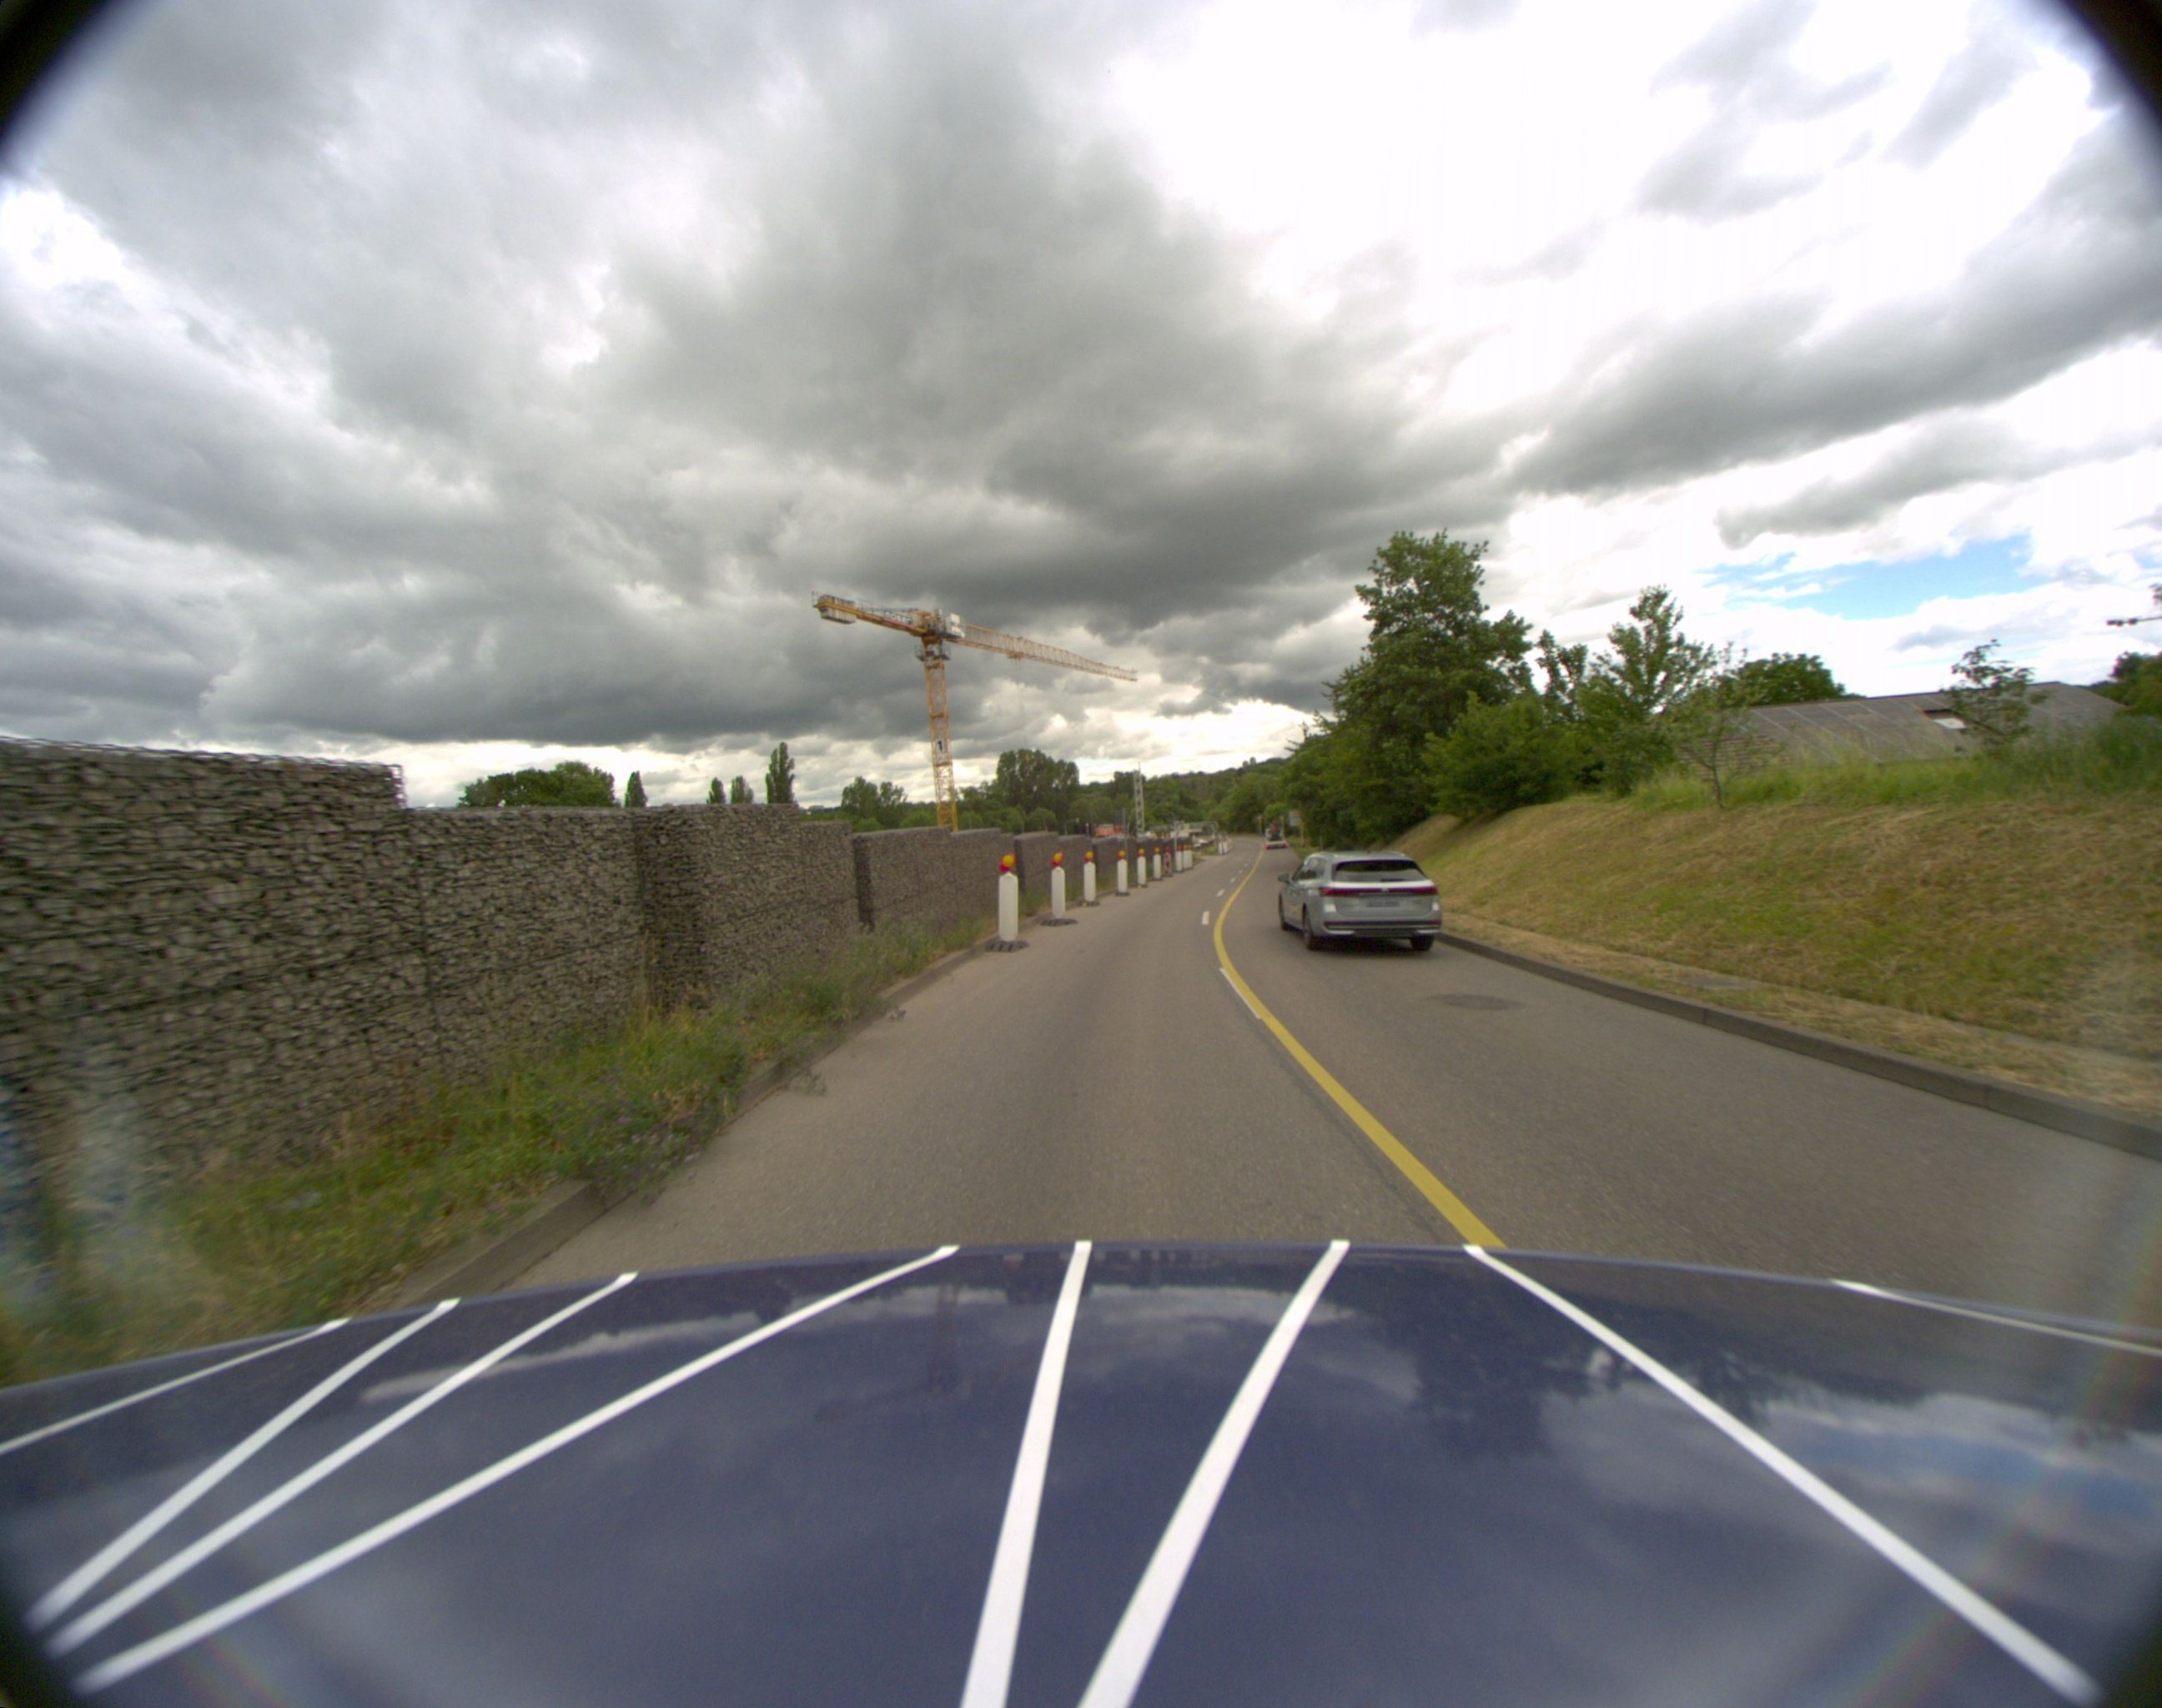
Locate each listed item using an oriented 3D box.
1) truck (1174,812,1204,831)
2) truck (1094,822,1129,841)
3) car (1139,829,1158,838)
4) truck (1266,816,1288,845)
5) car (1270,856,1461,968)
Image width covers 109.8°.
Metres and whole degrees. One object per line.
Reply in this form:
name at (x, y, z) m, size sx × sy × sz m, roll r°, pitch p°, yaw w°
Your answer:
truck at (20.472, -6.152, 144.745) m, size 2.761 × 3.240 × 7.599 m, roll -5°, pitch 3°, yaw -14°
truck at (6.752, -5.071, 171.581) m, size 3.044 × 3.877 × 9.980 m, roll -6°, pitch 3°, yaw -27°
car at (14.053, -4.211, 158.550) m, size 1.897 × 1.554 × 4.091 m, roll -7°, pitch 3°, yaw -29°
truck at (21.569, -2.524, 83.713) m, size 2.218 × 2.997 × 7.746 m, roll -1°, pitch 1°, yaw 14°
car at (4.344, 0.795, 12.416) m, size 1.885 × 1.469 × 4.604 m, roll -1°, pitch 0°, yaw 7°
